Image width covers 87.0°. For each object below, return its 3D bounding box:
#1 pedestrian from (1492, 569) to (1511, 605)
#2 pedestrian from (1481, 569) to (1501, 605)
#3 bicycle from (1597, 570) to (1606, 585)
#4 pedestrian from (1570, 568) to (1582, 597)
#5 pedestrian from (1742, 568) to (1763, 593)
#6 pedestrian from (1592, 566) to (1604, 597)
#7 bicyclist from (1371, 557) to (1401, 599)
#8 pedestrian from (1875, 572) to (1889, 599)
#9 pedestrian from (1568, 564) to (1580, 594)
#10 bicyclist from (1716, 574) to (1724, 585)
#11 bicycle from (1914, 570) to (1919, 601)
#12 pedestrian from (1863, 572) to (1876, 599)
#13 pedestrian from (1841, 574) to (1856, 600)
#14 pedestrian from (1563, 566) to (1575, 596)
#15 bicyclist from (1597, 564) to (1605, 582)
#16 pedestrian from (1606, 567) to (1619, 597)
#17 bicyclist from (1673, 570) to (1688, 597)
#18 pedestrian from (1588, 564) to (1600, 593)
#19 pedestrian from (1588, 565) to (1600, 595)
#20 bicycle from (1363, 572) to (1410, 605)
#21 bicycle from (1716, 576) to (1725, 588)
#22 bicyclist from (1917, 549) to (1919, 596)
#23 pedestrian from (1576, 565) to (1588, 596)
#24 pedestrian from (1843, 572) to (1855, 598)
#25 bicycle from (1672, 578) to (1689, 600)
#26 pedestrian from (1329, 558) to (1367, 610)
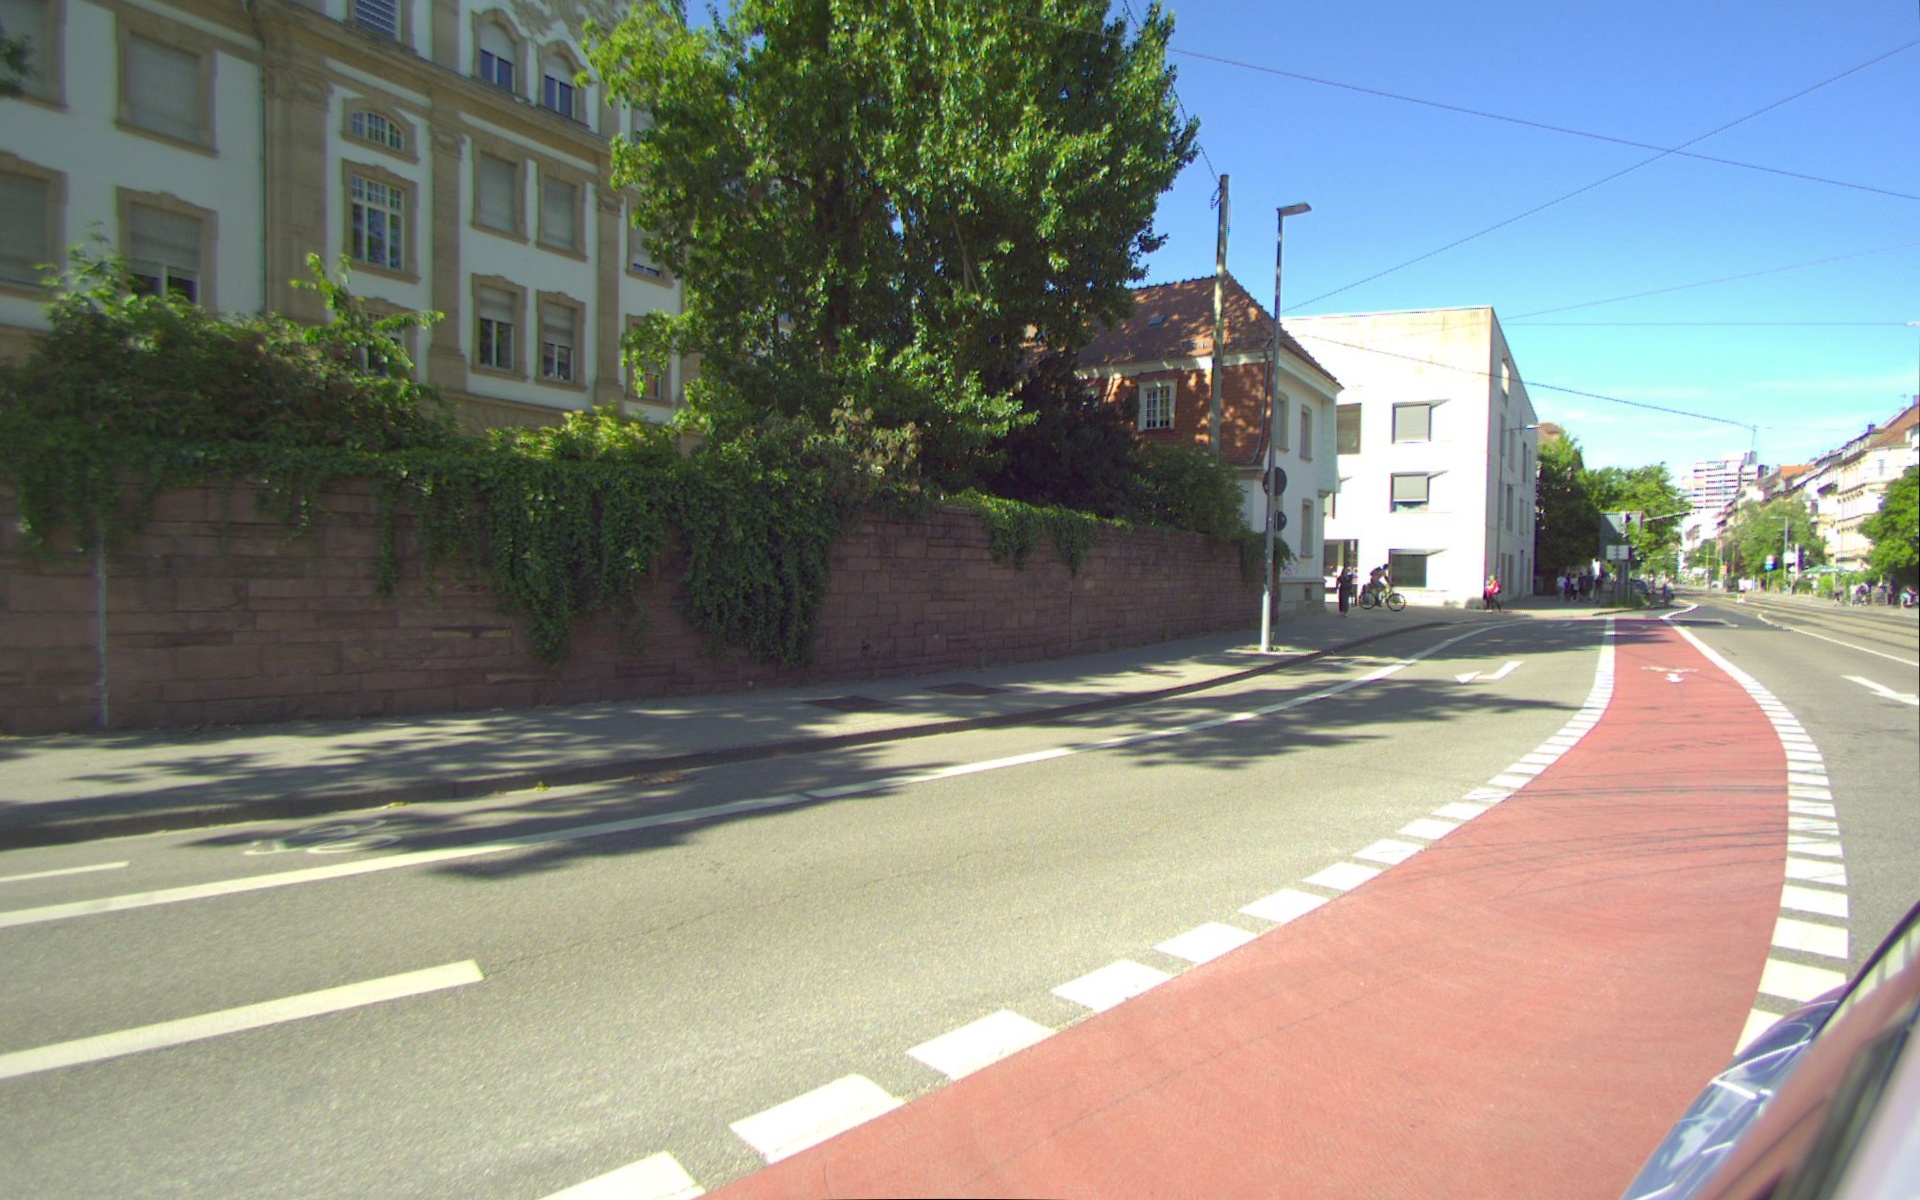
[{"bbox_3d":[23.956,-0.587,44.777,0.509,1.586,0.535,0,1,-8],"label":"pedestrian"},{"bbox_3d":[23.807,-0.599,45.371,0.509,1.586,0.535,0,1,-8],"label":"pedestrian"},{"bbox_3d":[78.464,-2.766,123.841,0.826,1.725,2.144,0,2,36],"label":"bicycle"},{"bbox_3d":[38.935,-1.120,63.938,0.584,1.828,0.539,1,2,34],"label":"pedestrian"},{"bbox_3d":[56.253,-1.394,71.823,0.918,1.759,0.676,1,2,16],"label":"pedestrian"},{"bbox_3d":[38.041,-1.118,60.331,0.584,1.828,0.514,1,2,34],"label":"pedestrian"},{"bbox_3d":[16.955,-0.875,40.289,0.868,1.602,0.741,5,3,16],"label":"bicyclist"},{"bbox_3d":[64.994,-1.007,71.352,0.575,1.879,0.676,2,2,35],"label":"pedestrian"},{"bbox_3d":[38.010,-1.299,62.627,0.584,1.828,0.576,1,2,34],"label":"pedestrian"},{"bbox_3d":[119.711,-3.188,159.406,0.997,1.743,0.973,0,2,35],"label":"bicyclist"},{"bbox_3d":[62.433,-0.953,65.133,3.825,1.910,1.003,-2,2,-39],"label":"bicycle"},{"bbox_3d":[64.433,-1.009,71.707,0.575,1.879,0.676,2,2,35],"label":"pedestrian"},{"bbox_3d":[64.669,-0.943,73.657,0.725,1.879,0.645,2,2,37],"label":"pedestrian"},{"bbox_3d":[36.860,-1.167,61.223,0.584,1.828,0.539,1,2,34],"label":"pedestrian"},{"bbox_3d":[78.467,-3.298,123.838,0.808,2.234,0.972,0,2,36],"label":"bicyclist"},{"bbox_3d":[38.897,-1.093,60.314,0.584,1.749,0.514,2,2,34],"label":"pedestrian"},{"bbox_3d":[40.089,-0.921,56.304,0.662,1.479,0.614,0,2,38],"label":"bicyclist"},{"bbox_3d":[39.717,-1.352,63.394,0.584,1.828,0.539,1,2,34],"label":"pedestrian"},{"bbox_3d":[38.912,-1.209,62.111,0.584,1.828,0.576,1,2,34],"label":"pedestrian"},{"bbox_3d":[16.973,-0.480,40.296,1.577,1.165,0.741,5,3,16],"label":"bicycle"},{"bbox_3d":[119.723,-2.825,159.416,0.997,1.702,2.949,0,2,34],"label":"bicycle"},{"bbox_3d":[62.198,-1.776,64.936,1.448,3.012,1.003,-2,2,-39],"label":"bicyclist"},{"bbox_3d":[37.387,-1.161,60.807,0.584,1.828,0.539,1,2,34],"label":"pedestrian"},{"bbox_3d":[64.632,-1.074,73.580,0.575,1.879,0.676,2,2,35],"label":"pedestrian"},{"bbox_3d":[40.106,-0.614,56.324,0.662,1.166,1.649,0,2,38],"label":"bicycle"},{"bbox_3d":[13.116,-0.558,34.202,0.934,1.698,0.943,5,4,33],"label":"pedestrian"}]
